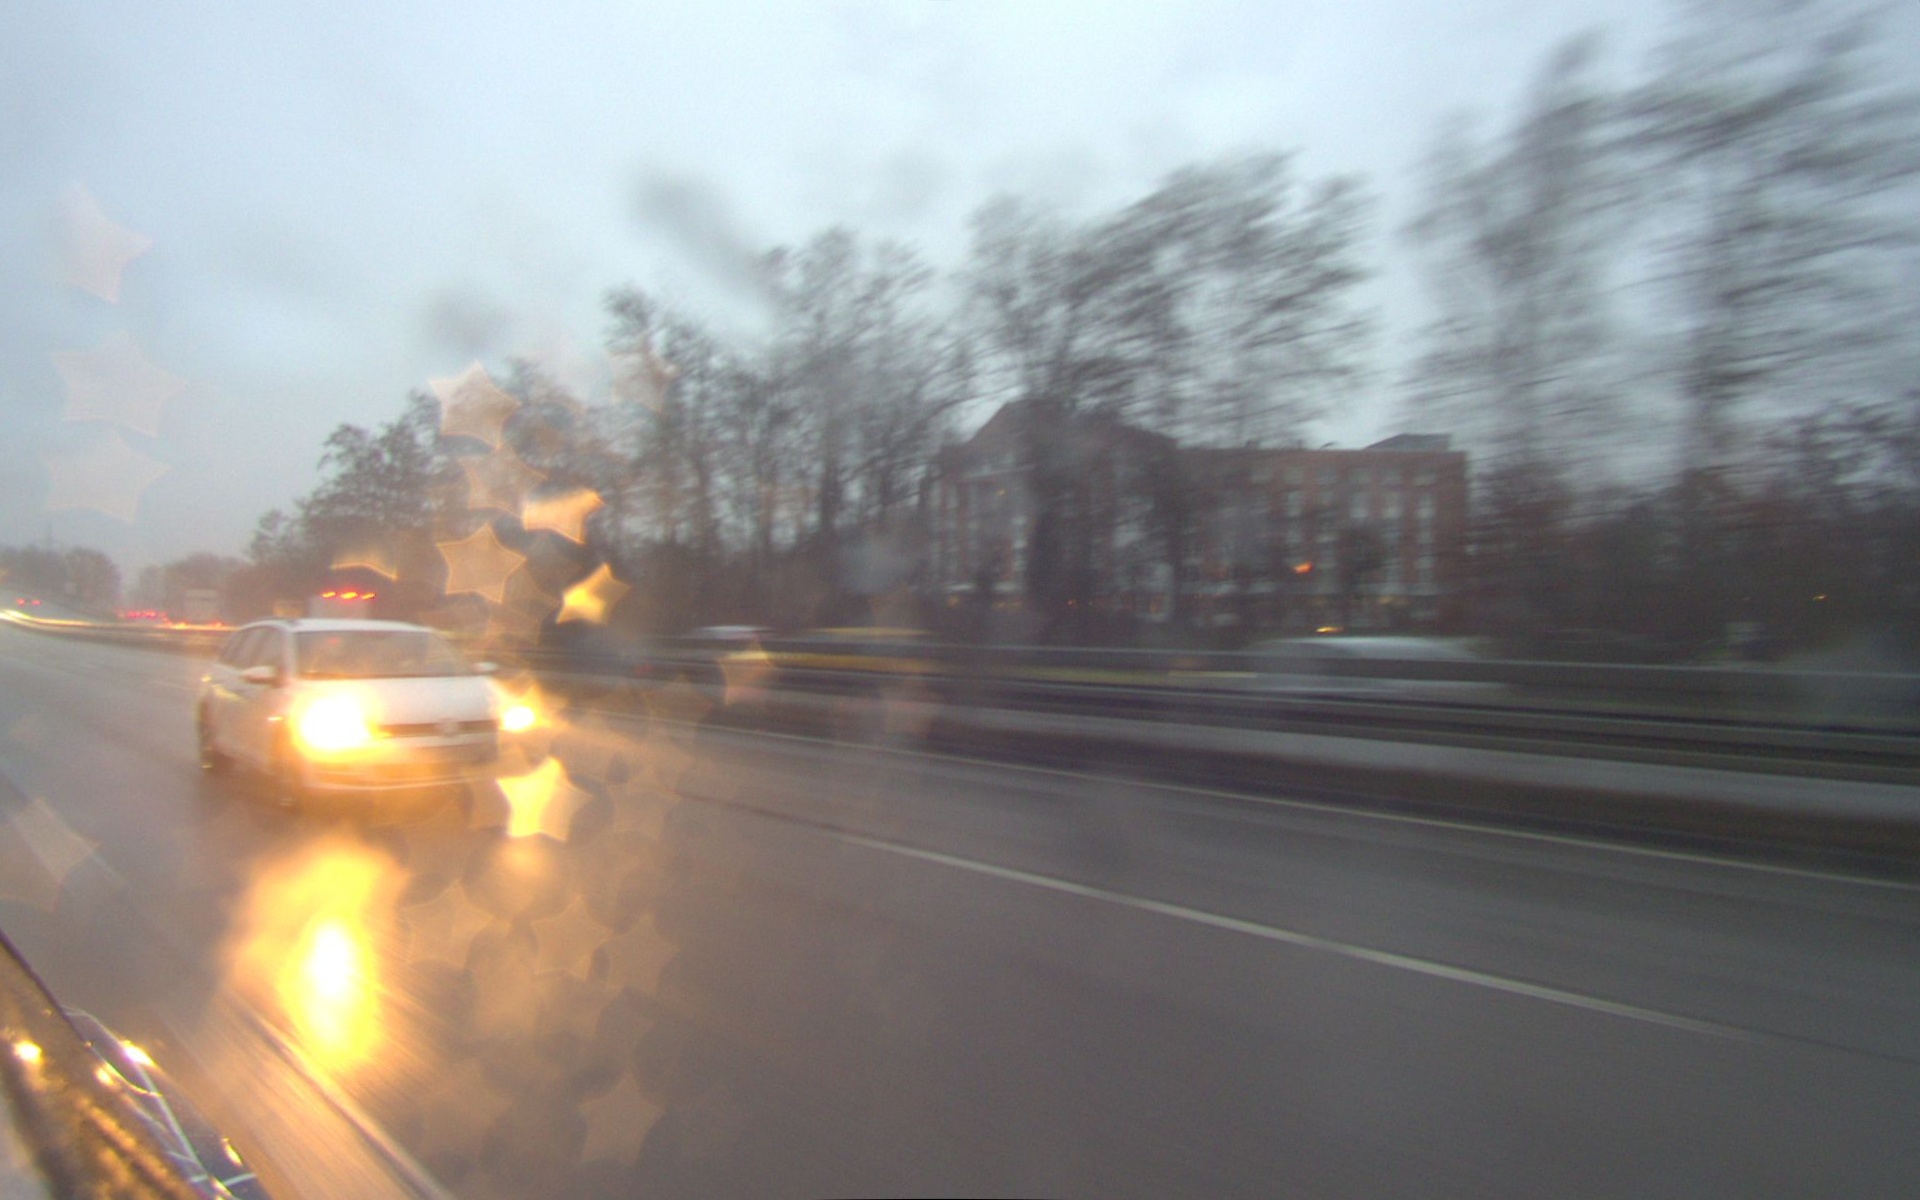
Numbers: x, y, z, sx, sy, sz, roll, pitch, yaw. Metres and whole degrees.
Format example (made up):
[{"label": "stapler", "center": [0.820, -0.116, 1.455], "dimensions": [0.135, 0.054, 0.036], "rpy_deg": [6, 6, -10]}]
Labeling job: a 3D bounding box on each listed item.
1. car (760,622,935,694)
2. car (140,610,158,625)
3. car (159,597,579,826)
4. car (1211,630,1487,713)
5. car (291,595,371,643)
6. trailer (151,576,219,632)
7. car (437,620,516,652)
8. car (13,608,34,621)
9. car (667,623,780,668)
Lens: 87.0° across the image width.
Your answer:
[{"label": "car", "center": [-2.701, 1.278, 23.622], "dimensions": [4.360, 1.454, 1.529], "rpy_deg": [-1, 1, 42]}, {"label": "car", "center": [-117.050, 2.514, 146.030], "dimensions": [1.968, 2.029, 4.008], "rpy_deg": [-2, 1, -38]}, {"label": "car", "center": [-5.505, 0.797, 9.118], "dimensions": [4.787, 1.532, 1.926], "rpy_deg": [-1, -2, 42]}, {"label": "car", "center": [7.286, 1.272, 19.305], "dimensions": [4.685, 1.281, 1.529], "rpy_deg": [-1, 1, 42]}, {"label": "car", "center": [-38.903, 1.136, 62.509], "dimensions": [6.338, 2.751, 2.501], "rpy_deg": [-1, 1, 42]}, {"label": "trailer", "center": [-72.570, 0.338, 94.625], "dimensions": [3.449, 4.883, 13.490], "rpy_deg": [-2, 1, -44]}, {"label": "car", "center": [-22.317, 1.625, 46.665], "dimensions": [4.471, 1.331, 1.692], "rpy_deg": [-1, 1, 42]}, {"label": "car", "center": [-122.432, 1.920, 132.293], "dimensions": [4.042, 1.576, 1.682], "rpy_deg": [-1, 0, 44]}, {"label": "car", "center": [-7.995, 1.486, 33.973], "dimensions": [4.256, 1.331, 1.529], "rpy_deg": [-1, 1, 42]}]
